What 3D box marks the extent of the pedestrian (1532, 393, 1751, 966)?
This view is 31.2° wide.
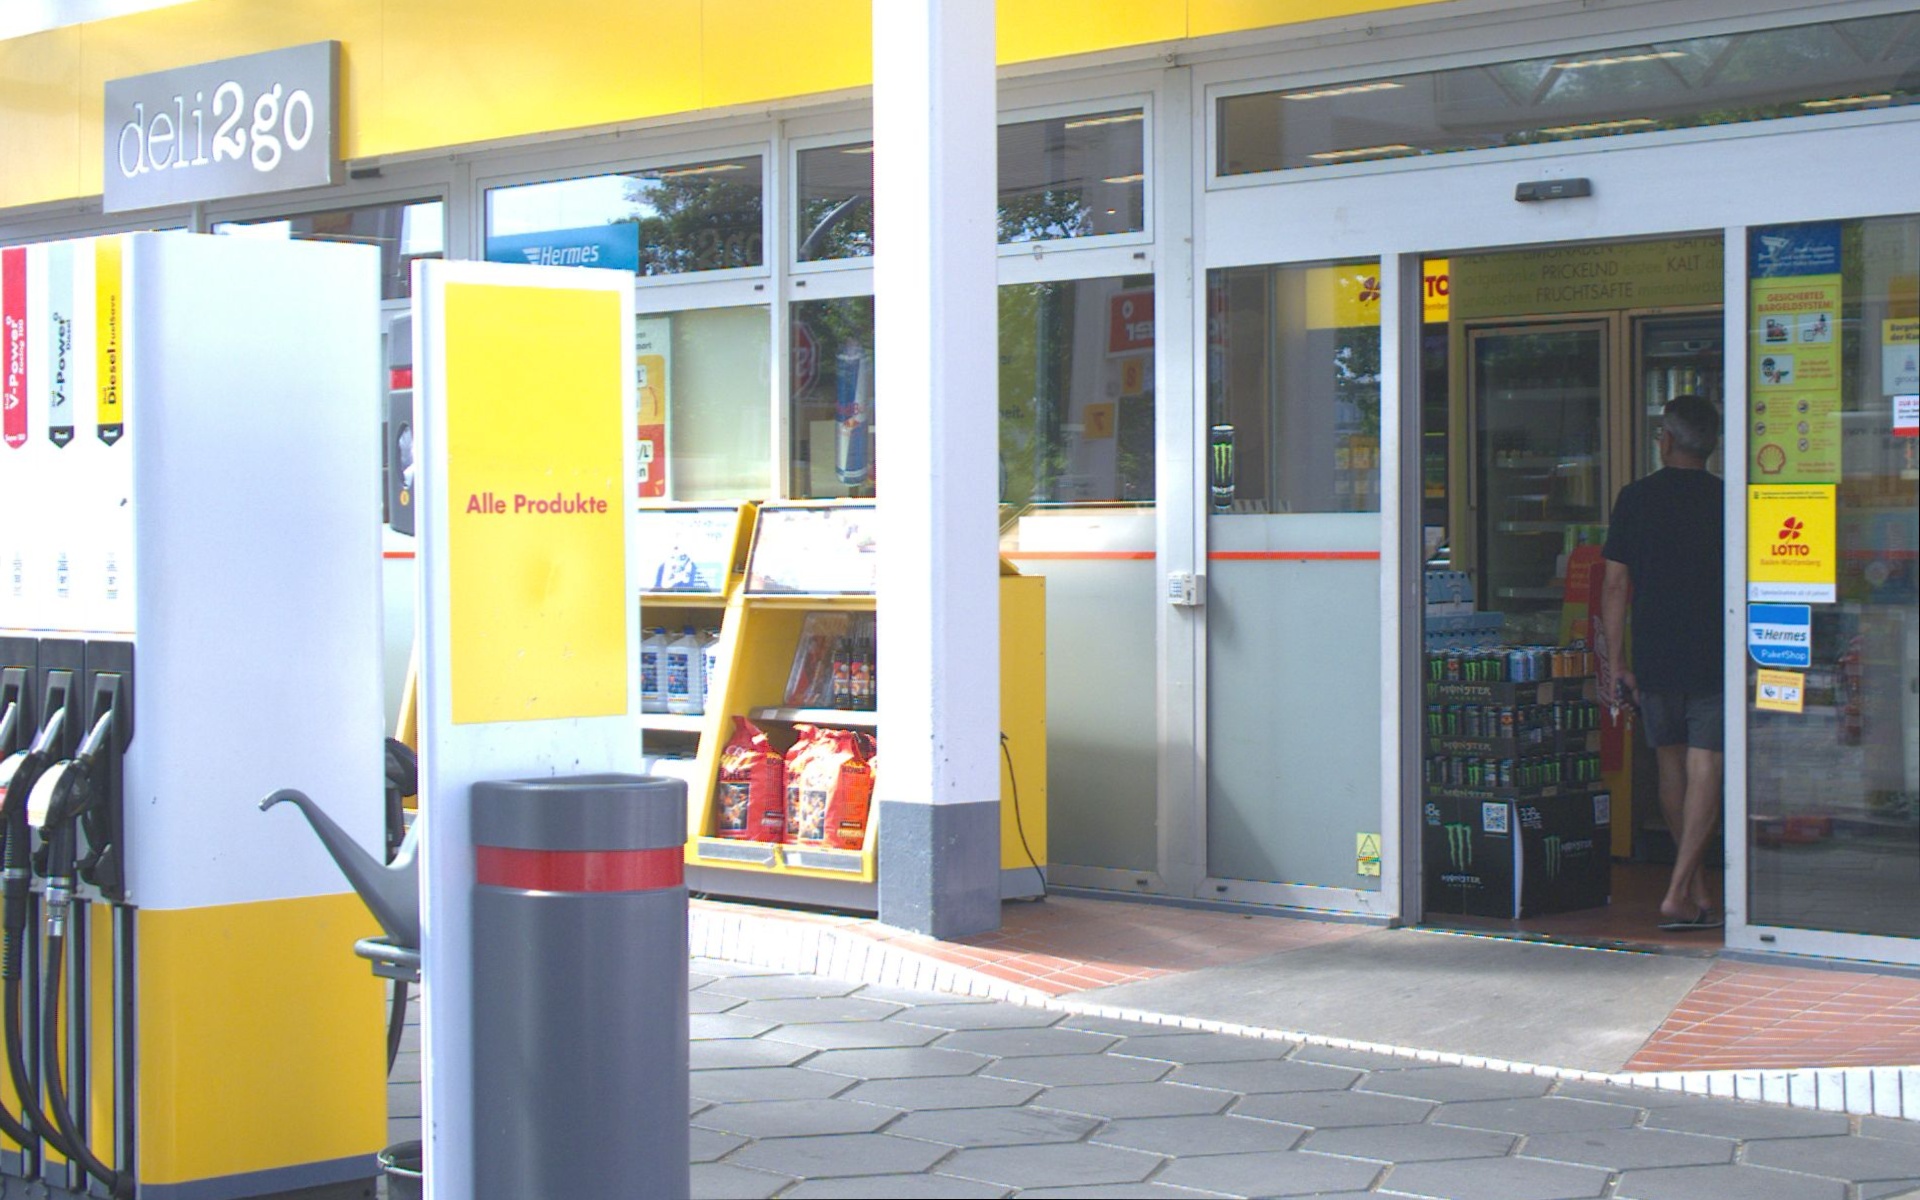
[{"bbox_3d":[2.161,0.238,10.881,0.572,1.756,0.530,0,1,25],"label":"pedestrian"}]

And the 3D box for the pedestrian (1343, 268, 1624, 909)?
[{"bbox_3d":[1.719,-0.045,11.251,0.622,2.007,0.741,0,1,37],"label":"pedestrian"}]
